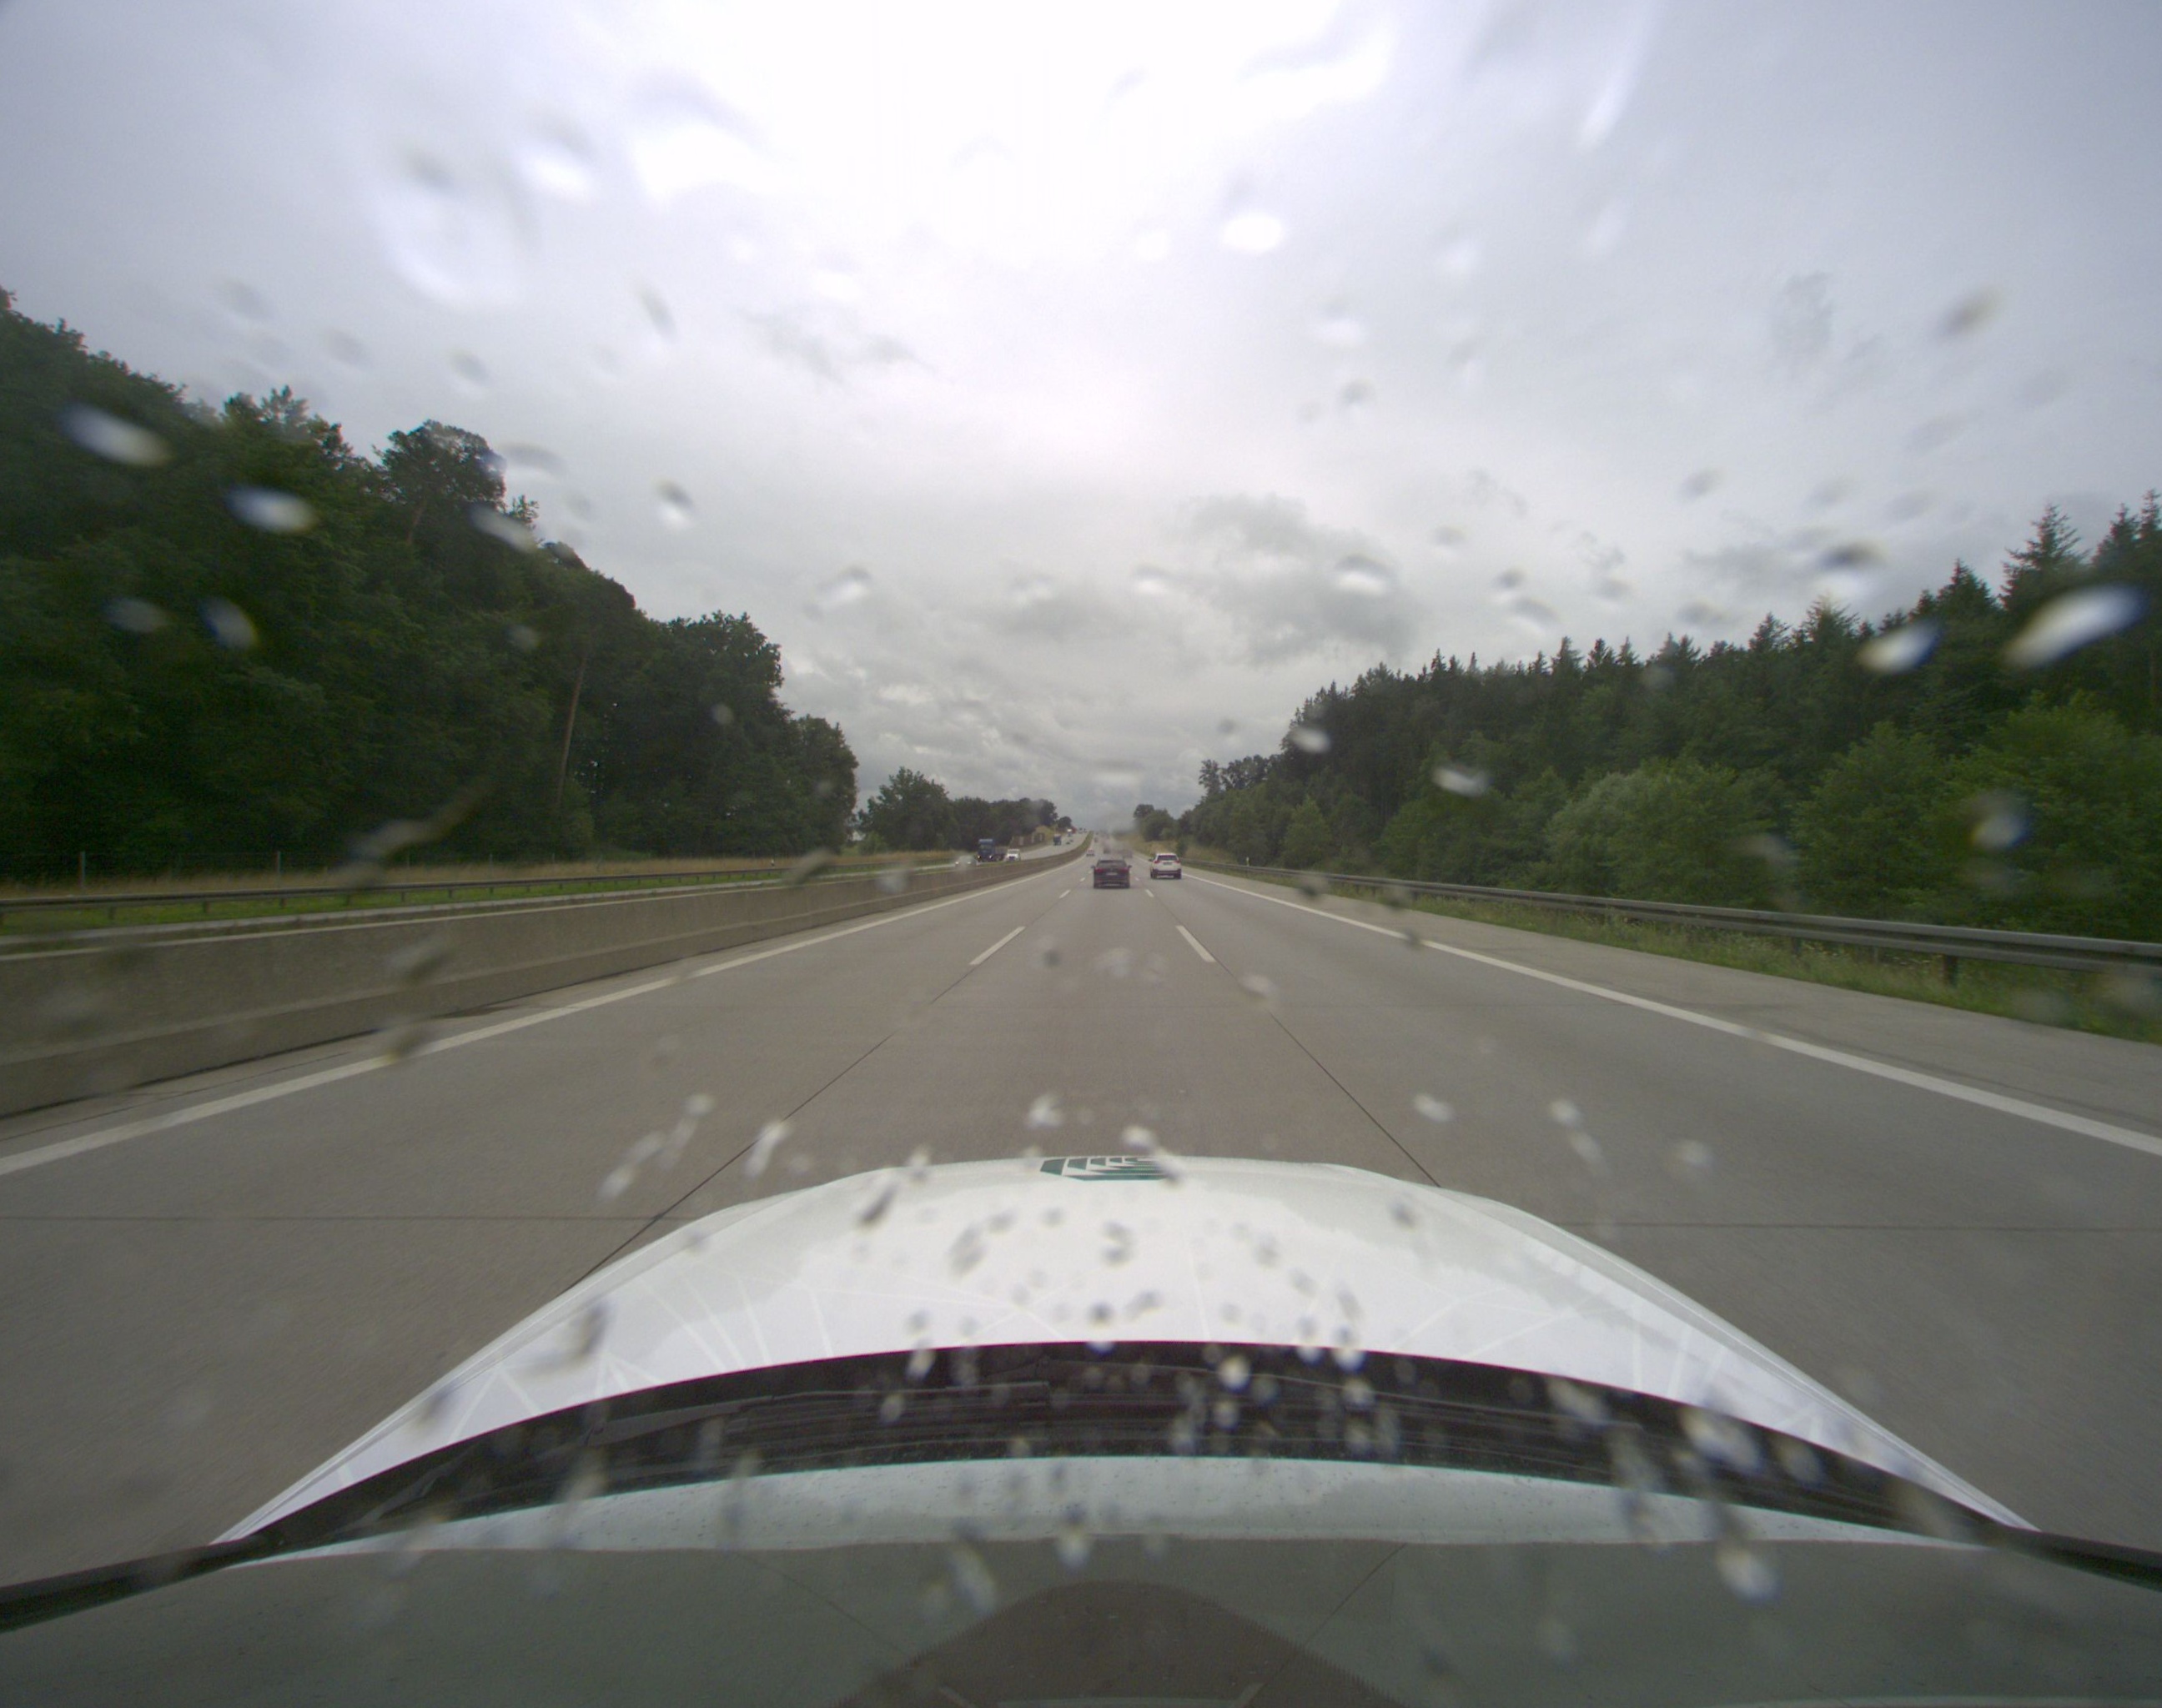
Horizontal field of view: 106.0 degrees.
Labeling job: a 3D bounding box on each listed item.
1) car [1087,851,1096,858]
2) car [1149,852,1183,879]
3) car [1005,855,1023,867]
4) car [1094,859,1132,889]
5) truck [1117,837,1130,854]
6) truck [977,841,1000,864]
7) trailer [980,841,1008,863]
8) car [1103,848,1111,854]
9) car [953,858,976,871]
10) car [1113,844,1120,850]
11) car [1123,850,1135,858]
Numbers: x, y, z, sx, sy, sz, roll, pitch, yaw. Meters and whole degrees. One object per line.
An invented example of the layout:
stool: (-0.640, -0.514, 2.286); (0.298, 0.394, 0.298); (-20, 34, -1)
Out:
car: (2.280, 0.189, 179.964); (1.940, 1.356, 4.261); (-1, -1, 2)
car: (5.453, 0.732, 52.500); (1.820, 1.655, 3.985); (0, 0, 0)
car: (-10.436, 1.103, 127.061); (2.080, 1.801, 5.499); (0, 0, 2)
car: (1.565, 0.951, 39.486); (1.745, 1.398, 4.487); (0, -1, 3)
truck: (10.898, -2.118, 207.933); (3.006, 4.180, 8.357); (0, 1, 1)
truck: (-14.697, -0.244, 129.478); (2.746, 3.517, 6.643); (0, 0, 2)
trailer: (-14.490, -0.251, 136.153); (2.775, 3.507, 13.890); (0, 0, 2)
car: (6.660, -0.817, 206.055); (1.927, 1.375, 4.597); (0, 0, 2)
car: (-12.646, 1.172, 88.481); (1.841, 1.376, 4.436); (0, 0, 0)
car: (10.657, -2.132, 242.902); (1.985, 1.639, 4.004); (0, 1, 3)
car: (9.042, 0.010, 153.882); (1.986, 1.530, 4.001); (0, 0, 1)
